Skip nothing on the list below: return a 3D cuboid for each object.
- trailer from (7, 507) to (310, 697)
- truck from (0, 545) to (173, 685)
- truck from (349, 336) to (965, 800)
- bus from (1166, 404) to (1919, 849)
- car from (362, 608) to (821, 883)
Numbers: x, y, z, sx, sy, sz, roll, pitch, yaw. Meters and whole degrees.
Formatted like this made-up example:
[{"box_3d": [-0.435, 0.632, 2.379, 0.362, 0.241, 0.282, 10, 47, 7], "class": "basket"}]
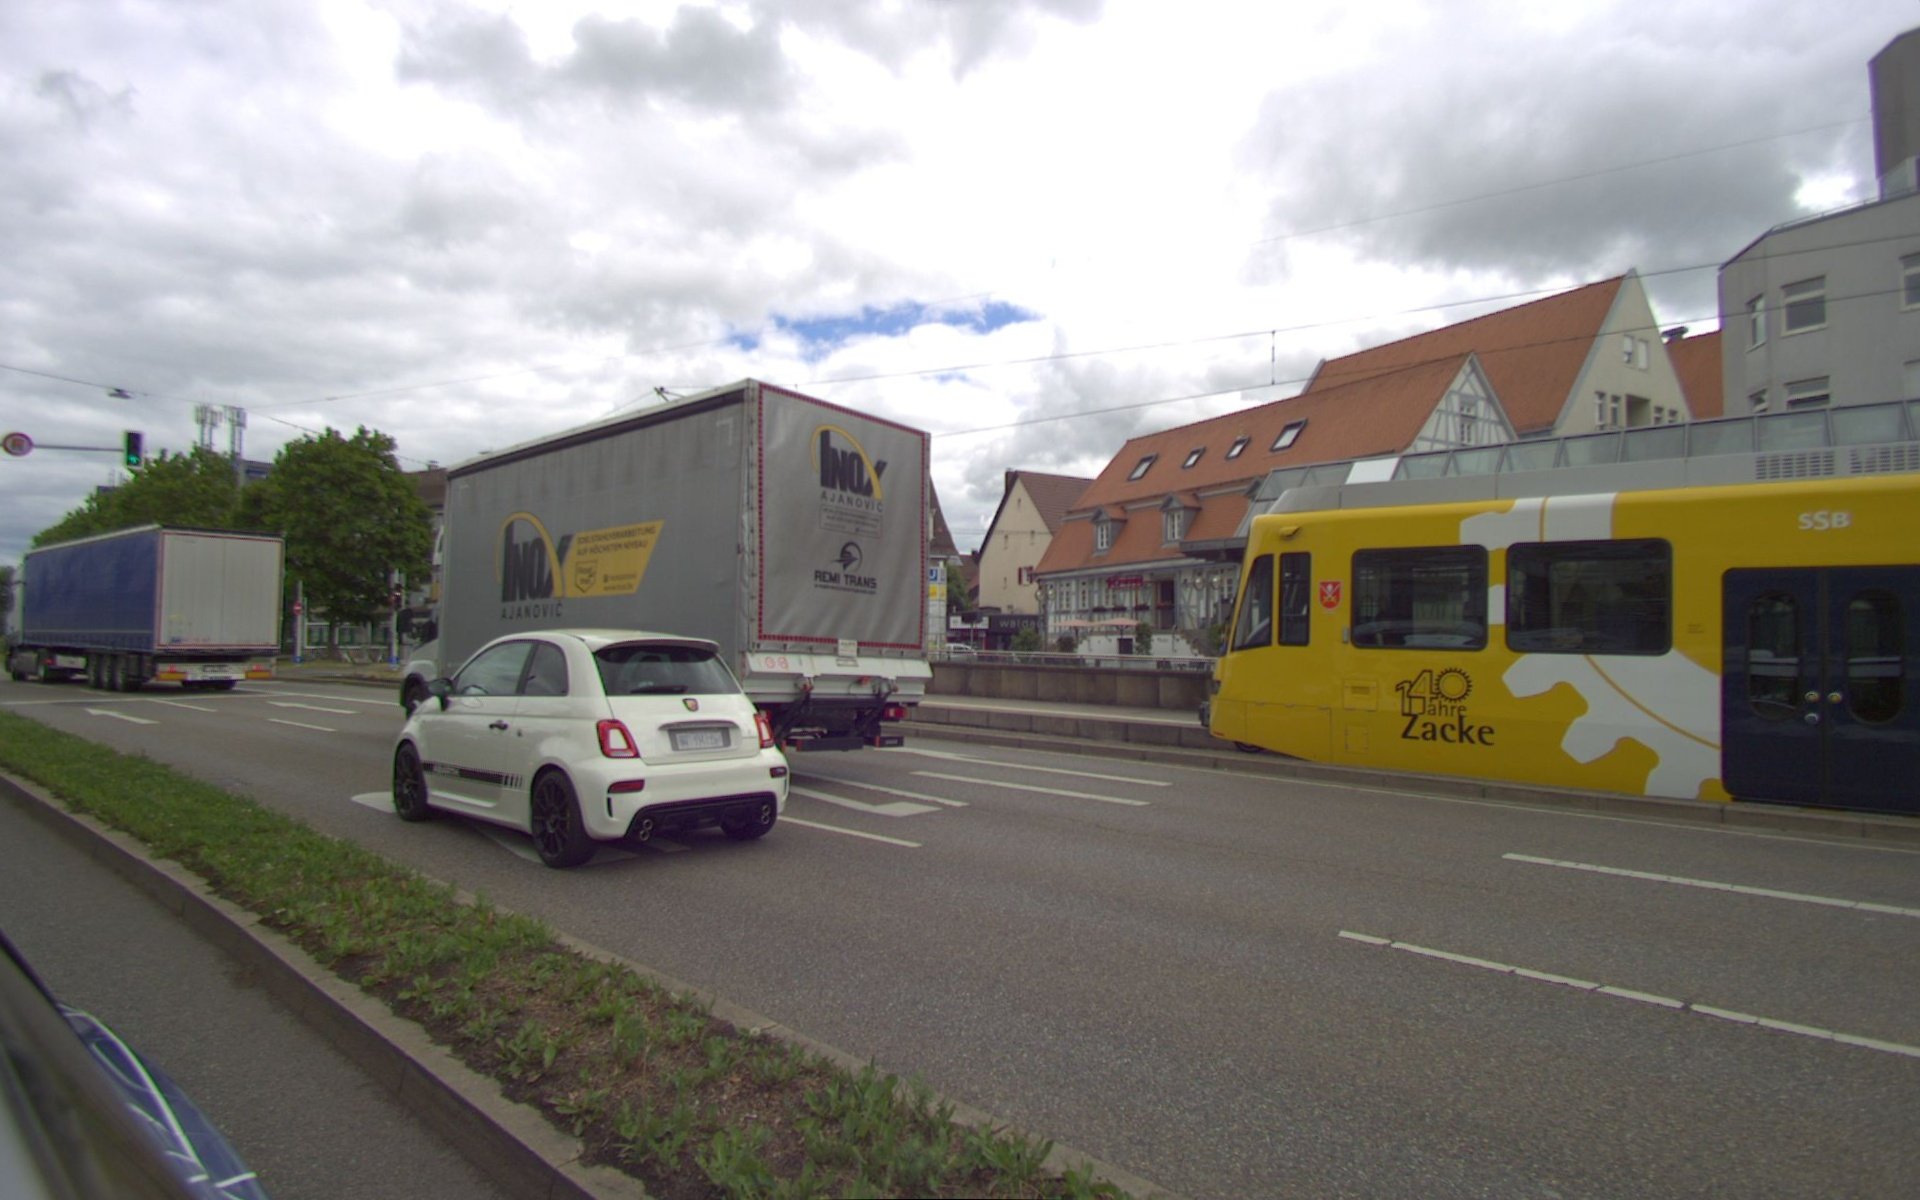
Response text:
[{"box_3d": [-23.141, 0.299, 28.608, 14.822, 4.302, 3.073, -2, -3, 37], "class": "trailer"}, {"box_3d": [-28.178, 0.571, 32.429, 6.144, 4.053, 3.062, -2, -3, 37], "class": "truck"}, {"box_3d": [-4.374, -0.100, 12.790, 9.160, 3.988, 2.907, -2, -5, 41], "class": "truck"}, {"box_3d": [11.387, 0.265, 8.833, 19.323, 3.889, 3.838, -1, -3, 40], "class": "bus"}, {"box_3d": [-2.843, 0.851, 7.426, 3.717, 1.514, 1.571, -1, -2, 41], "class": "car"}]
